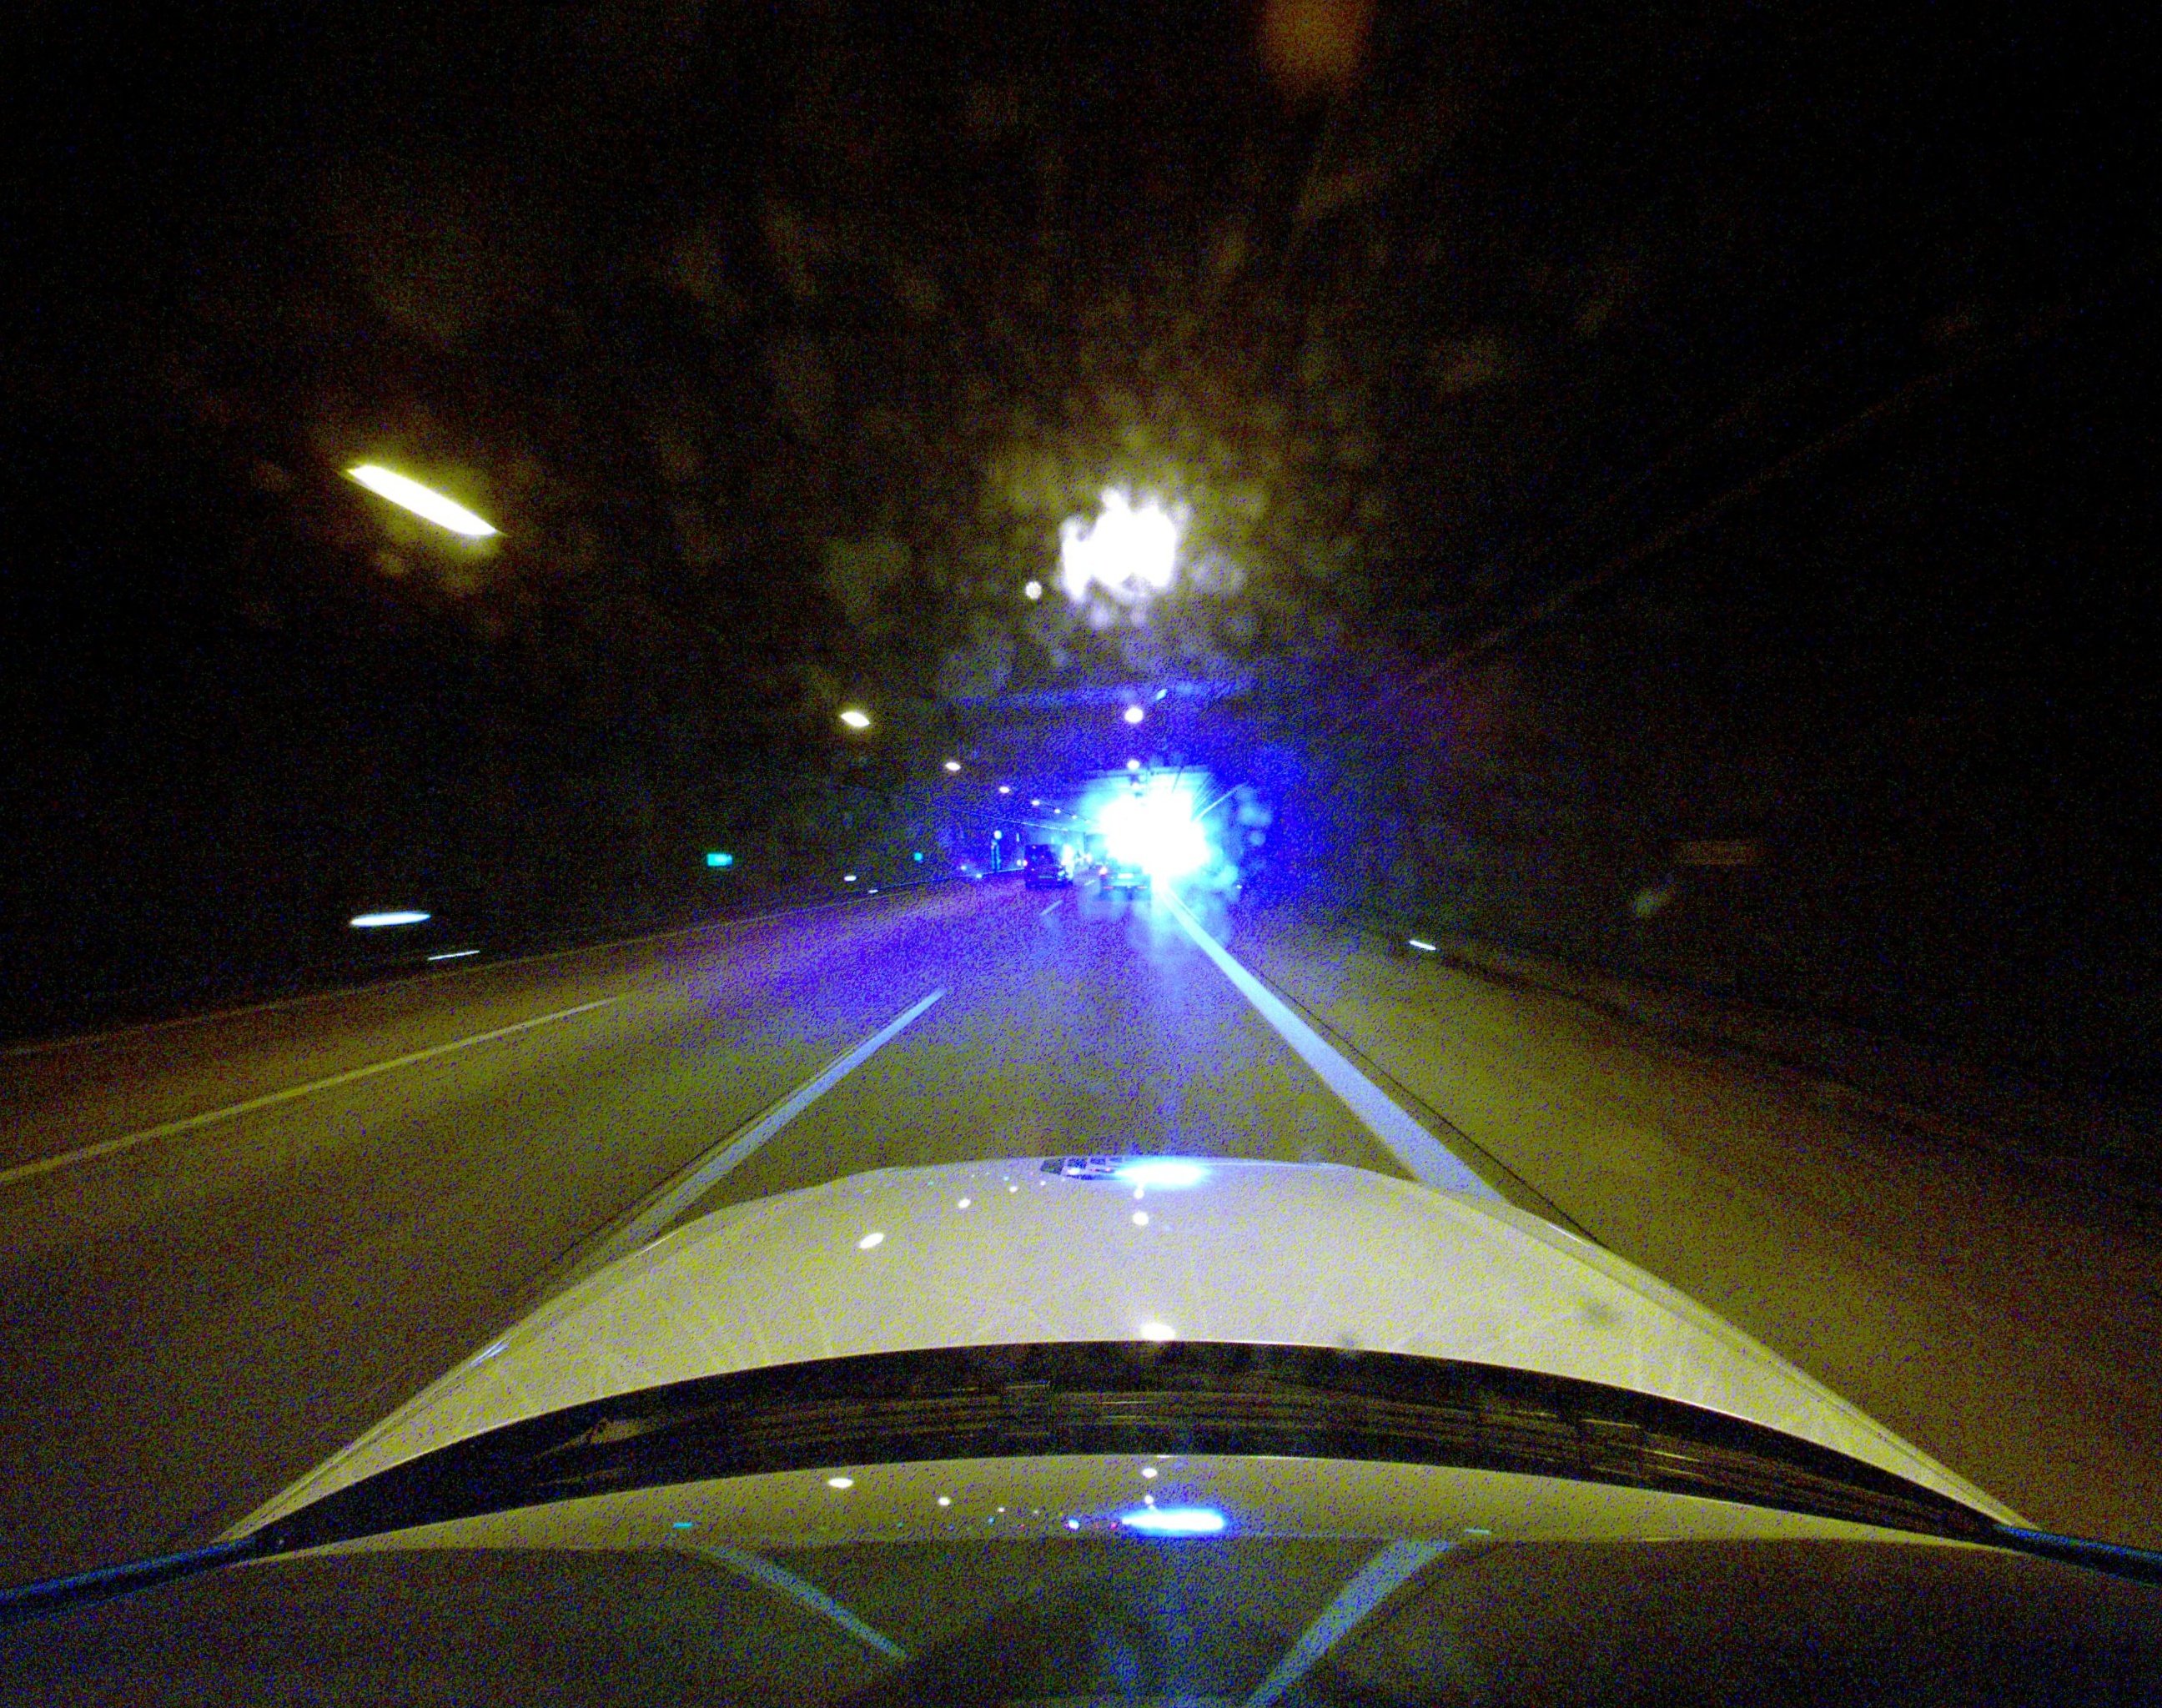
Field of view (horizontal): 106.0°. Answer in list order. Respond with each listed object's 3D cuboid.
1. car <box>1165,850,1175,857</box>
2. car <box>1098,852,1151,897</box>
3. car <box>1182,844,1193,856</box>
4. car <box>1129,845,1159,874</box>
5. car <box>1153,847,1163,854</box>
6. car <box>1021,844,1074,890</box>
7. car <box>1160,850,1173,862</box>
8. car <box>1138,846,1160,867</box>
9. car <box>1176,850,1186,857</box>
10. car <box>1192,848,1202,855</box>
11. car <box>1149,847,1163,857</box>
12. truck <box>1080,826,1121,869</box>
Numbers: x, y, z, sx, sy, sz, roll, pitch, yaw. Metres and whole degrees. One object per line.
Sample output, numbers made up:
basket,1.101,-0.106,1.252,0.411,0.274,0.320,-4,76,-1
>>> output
car,22.700,-0.154,207.752,1.917,1.643,4.014,-2,-2,14
car,1.616,0.681,28.986,1.734,1.464,3.876,-1,0,5
car,19.783,-0.725,151.558,1.982,2.014,4.009,-1,-2,8
car,4.260,0.368,54.834,1.847,1.854,4.007,-1,0,6
car,18.398,-0.829,194.596,1.919,1.642,4.010,-1,0,9
car,-1.467,0.551,37.079,1.901,1.944,3.876,-1,0,4
car,12.827,0.314,121.828,1.921,1.643,4.006,-1,-2,6
car,6.392,0.287,76.637,1.941,1.772,4.005,-1,-2,5
car,24.778,-0.207,201.806,1.980,1.632,4.013,-1,-2,12
car,25.146,-0.558,176.010,1.918,1.642,4.013,-1,0,12
car,13.340,-0.365,145.002,1.980,1.632,4.012,-1,-2,12
truck,1.889,-0.563,75.154,3.023,3.673,7.407,-1,0,7
